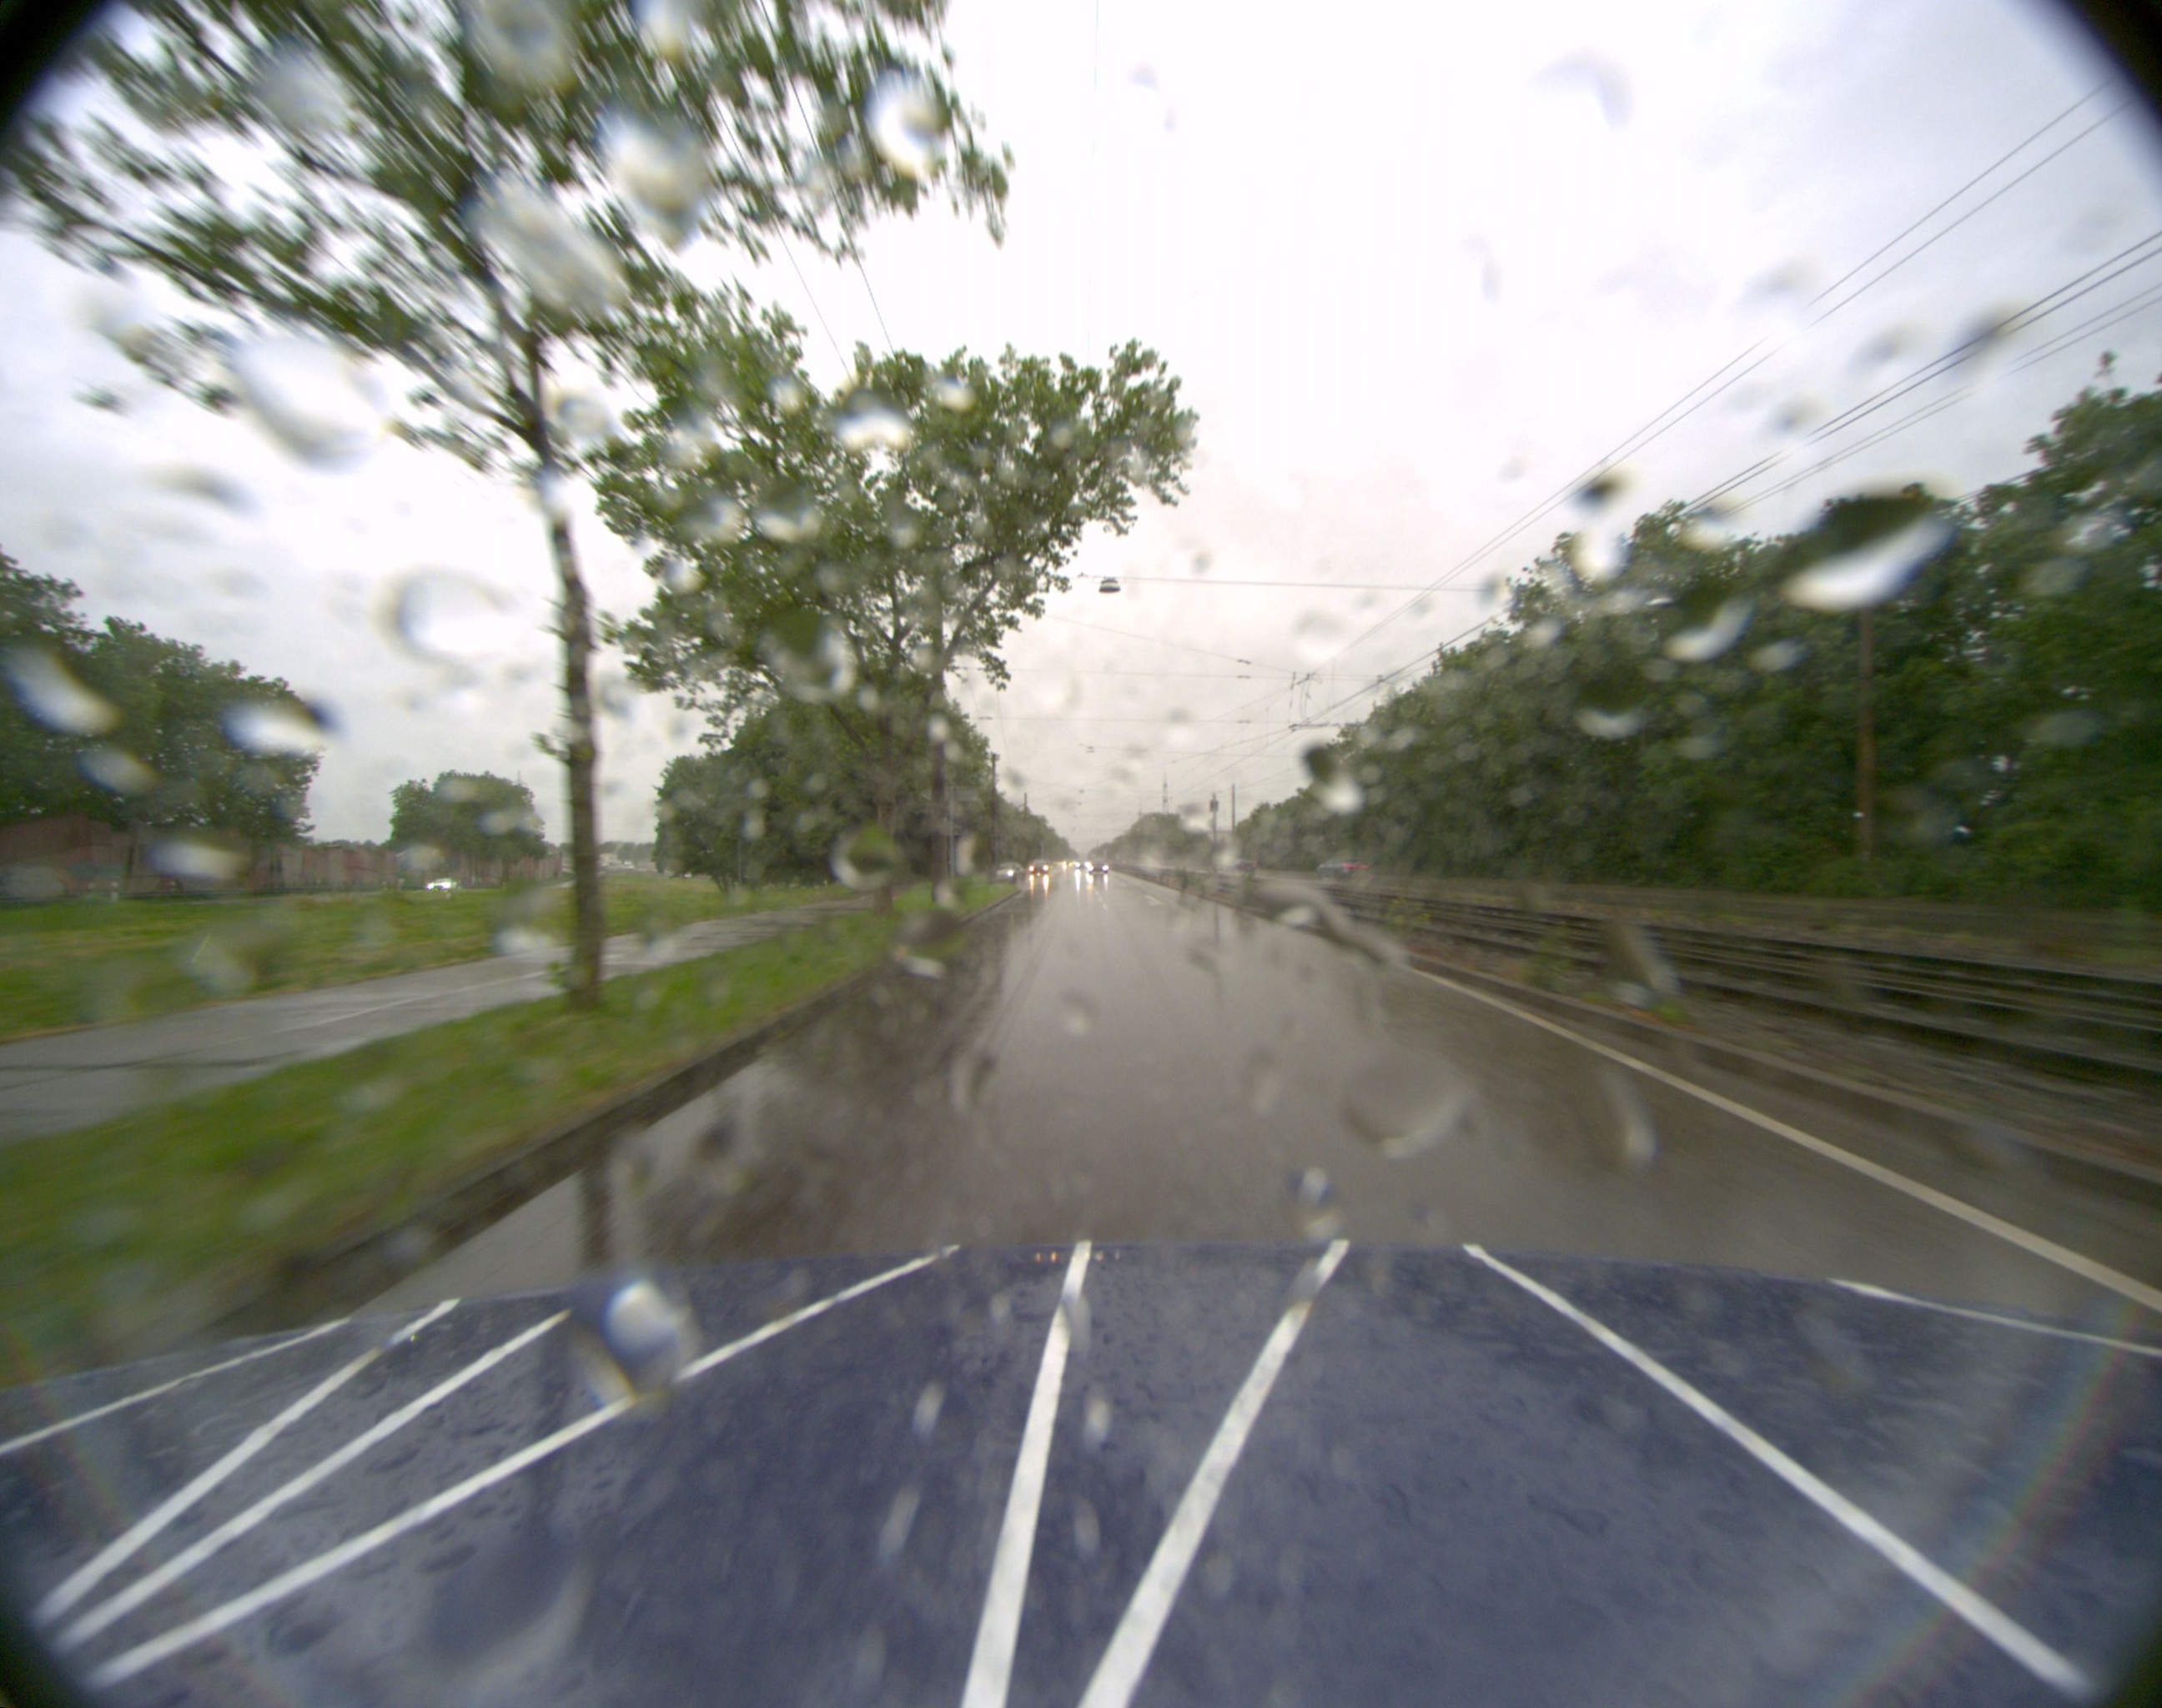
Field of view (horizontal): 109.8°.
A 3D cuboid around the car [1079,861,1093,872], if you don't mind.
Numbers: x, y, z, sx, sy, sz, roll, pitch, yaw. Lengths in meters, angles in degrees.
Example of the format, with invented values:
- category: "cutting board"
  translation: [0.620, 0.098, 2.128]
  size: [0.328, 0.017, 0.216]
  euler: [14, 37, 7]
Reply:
- category: "car"
  translation: [0.692, 1.698, 105.832]
  size: [1.971, 1.412, 3.999]
  euler: [0, 0, -1]

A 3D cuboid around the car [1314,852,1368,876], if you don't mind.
- category: "car"
  translation: [17.069, 0.632, 50.097]
  size: [1.695, 1.514, 4.954]
  euler: [-1, 0, -2]

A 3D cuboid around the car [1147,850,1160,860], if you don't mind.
- category: "car"
  translation: [14.644, 0.205, 154.350]
  size: [1.999, 1.772, 3.999]
  euler: [-5, 0, -1]

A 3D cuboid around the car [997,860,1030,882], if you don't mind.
- category: "car"
  translation: [-4.559, 1.132, 52.060]
  size: [1.750, 1.412, 4.000]
  euler: [0, 0, 2]

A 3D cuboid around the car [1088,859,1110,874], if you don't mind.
- category: "car"
  translation: [1.776, 1.270, 75.892]
  size: [1.971, 1.412, 3.999]
  euler: [0, 0, -1]

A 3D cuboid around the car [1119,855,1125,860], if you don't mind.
- category: "car"
  translation: [13.304, 0.987, 246.665]
  size: [1.846, 1.565, 4.384]
  euler: [-1, 0, -1]

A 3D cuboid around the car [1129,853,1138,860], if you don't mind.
- category: "car"
  translation: [13.647, 0.724, 198.018]
  size: [1.999, 1.662, 4.871]
  euler: [-1, 0, -2]

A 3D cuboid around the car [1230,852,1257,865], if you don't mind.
- category: "car"
  translation: [16.925, 0.483, 79.387]
  size: [1.776, 1.322, 4.379]
  euler: [-1, 0, -2]
